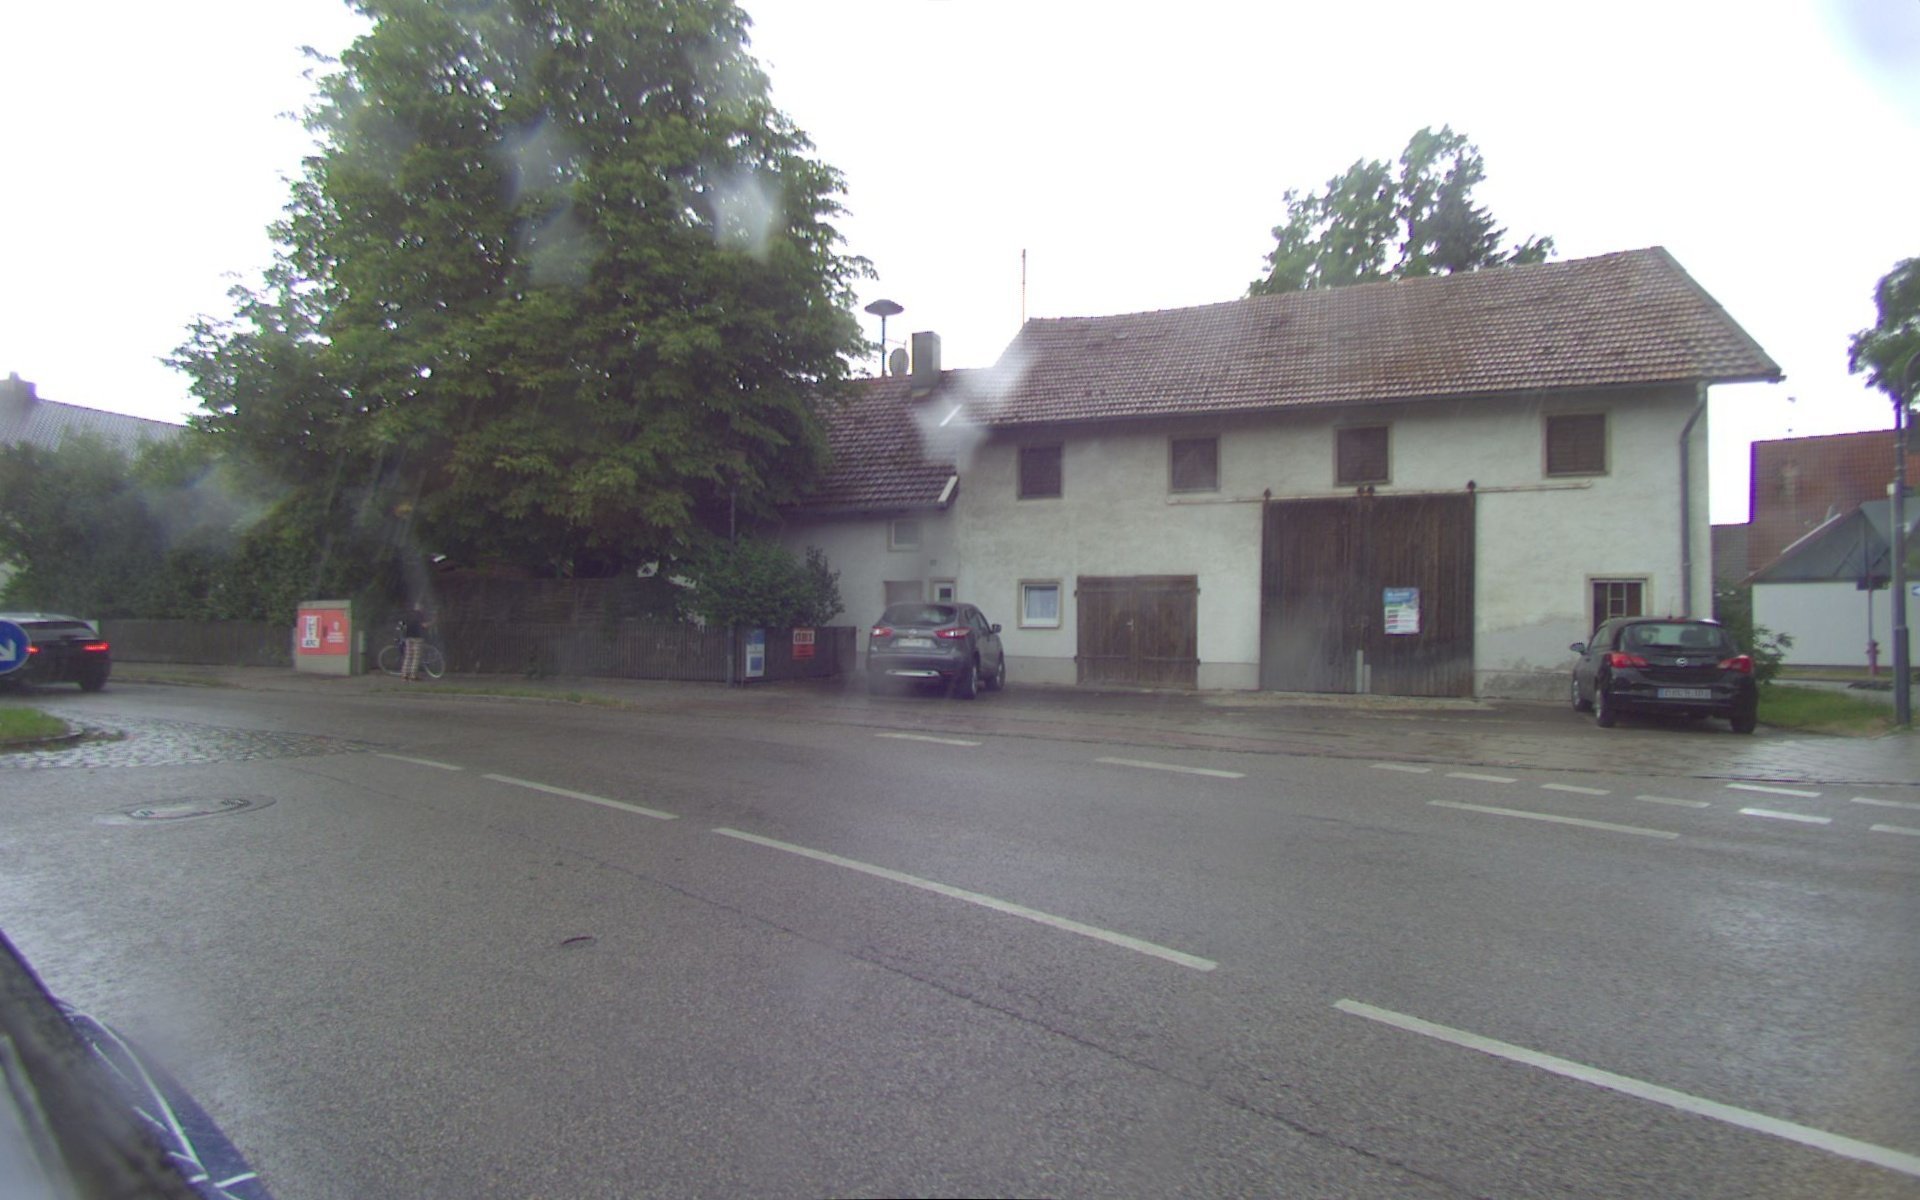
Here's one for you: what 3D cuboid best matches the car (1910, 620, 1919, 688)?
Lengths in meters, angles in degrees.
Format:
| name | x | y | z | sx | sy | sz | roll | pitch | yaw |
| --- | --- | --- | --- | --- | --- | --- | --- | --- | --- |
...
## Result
| name | x | y | z | sx | sy | sz | roll | pitch | yaw |
| --- | --- | --- | --- | --- | --- | --- | --- | --- | --- |
| car | 23.244 | 1.208 | 21.498 | 1.851 | 1.560 | 4.285 | 0 | -1 | -5 |

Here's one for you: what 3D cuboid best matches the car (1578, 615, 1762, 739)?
| name | x | y | z | sx | sy | sz | roll | pitch | yaw |
| --- | --- | --- | --- | --- | --- | --- | --- | --- | --- |
| car | 9.806 | 0.946 | 14.042 | 1.817 | 1.447 | 4.230 | -1 | -2 | 35 |

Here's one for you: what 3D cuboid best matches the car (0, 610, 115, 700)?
| name | x | y | z | sx | sy | sz | roll | pitch | yaw |
| --- | --- | --- | --- | --- | --- | --- | --- | --- | --- |
| car | -17.534 | 0.954 | 18.535 | 4.041 | 1.502 | 1.800 | -1 | -1 | 29 |

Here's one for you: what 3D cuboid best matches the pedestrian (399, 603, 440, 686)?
| name | x | y | z | sx | sy | sz | roll | pitch | yaw |
| --- | --- | --- | --- | --- | --- | --- | --- | --- | --- |
| pedestrian | -10.788 | 0.880 | 20.214 | 0.642 | 1.640 | 0.480 | 0 | -1 | -21 |

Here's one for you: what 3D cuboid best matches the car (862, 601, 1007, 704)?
| name | x | y | z | sx | sy | sz | roll | pitch | yaw |
| --- | --- | --- | --- | --- | --- | --- | --- | --- | --- |
| car | -0.307 | 0.917 | 17.767 | 1.797 | 1.560 | 4.268 | 0 | -3 | 9 |

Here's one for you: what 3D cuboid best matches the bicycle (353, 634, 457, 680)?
| name | x | y | z | sx | sy | sz | roll | pitch | yaw |
| --- | --- | --- | --- | --- | --- | --- | --- | --- | --- |
| bicycle | -11.502 | 1.169 | 20.987 | 1.852 | 0.909 | 0.662 | 0 | -1 | 8 |
